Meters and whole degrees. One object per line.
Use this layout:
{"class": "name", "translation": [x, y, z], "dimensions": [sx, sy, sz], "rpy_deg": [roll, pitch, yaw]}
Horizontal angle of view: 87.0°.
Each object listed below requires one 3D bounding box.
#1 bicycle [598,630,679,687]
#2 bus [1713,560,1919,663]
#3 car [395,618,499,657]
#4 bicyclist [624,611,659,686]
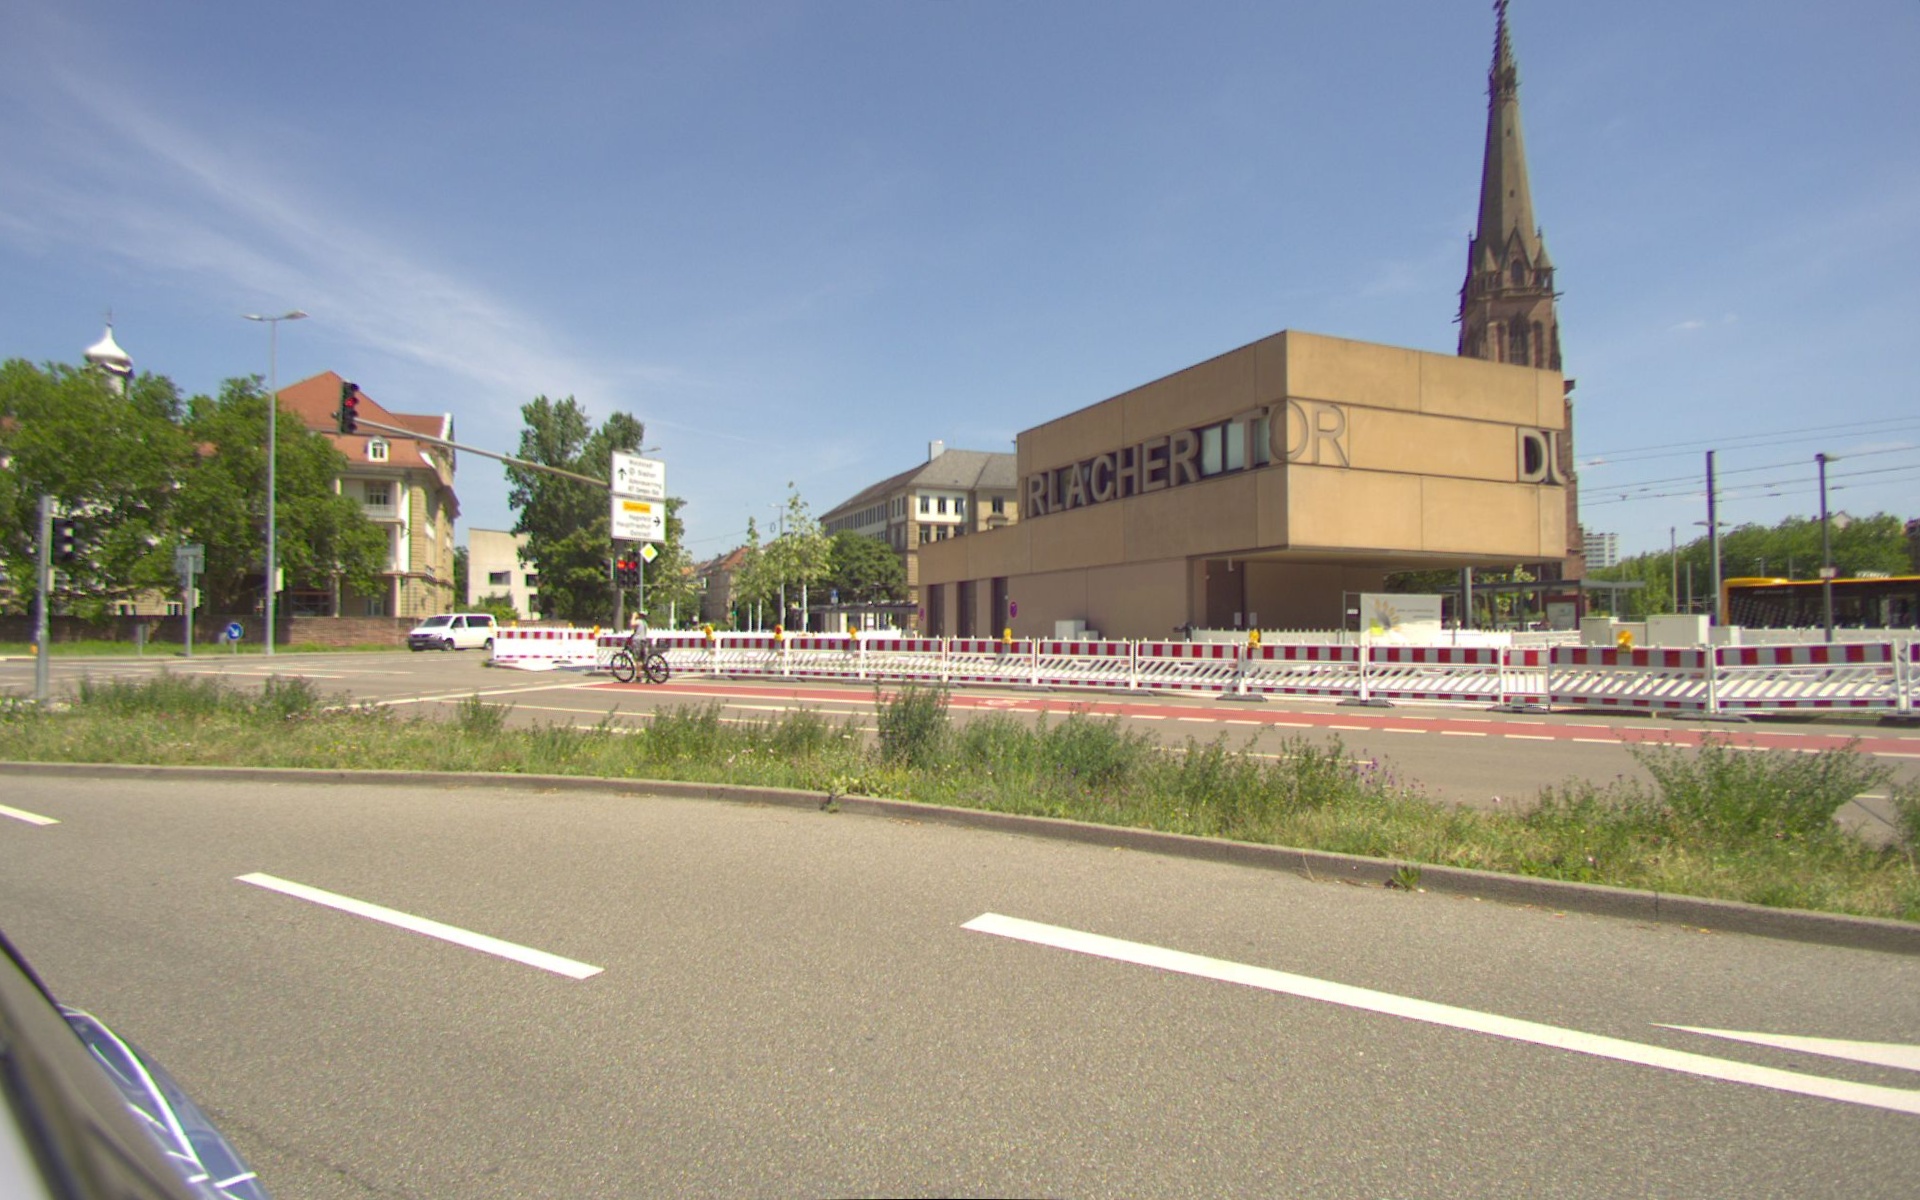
{"class": "bicycle", "translation": [-6.950, 1.242, 21.862], "dimensions": [1.890, 1.189, 0.519], "rpy_deg": [0, -2, 29]}
{"class": "bus", "translation": [30.451, 0.332, 30.406], "dimensions": [3.674, 3.064, 12.293], "rpy_deg": [0, -2, -24]}
{"class": "car", "translation": [-25.188, 1.824, 49.898], "dimensions": [1.912, 1.808, 5.013], "rpy_deg": [-1, -2, 11]}
{"class": "bicyclist", "translation": [-6.864, 1.028, 21.813], "dimensions": [0.496, 1.591, 0.526], "rpy_deg": [-1, -1, 29]}
